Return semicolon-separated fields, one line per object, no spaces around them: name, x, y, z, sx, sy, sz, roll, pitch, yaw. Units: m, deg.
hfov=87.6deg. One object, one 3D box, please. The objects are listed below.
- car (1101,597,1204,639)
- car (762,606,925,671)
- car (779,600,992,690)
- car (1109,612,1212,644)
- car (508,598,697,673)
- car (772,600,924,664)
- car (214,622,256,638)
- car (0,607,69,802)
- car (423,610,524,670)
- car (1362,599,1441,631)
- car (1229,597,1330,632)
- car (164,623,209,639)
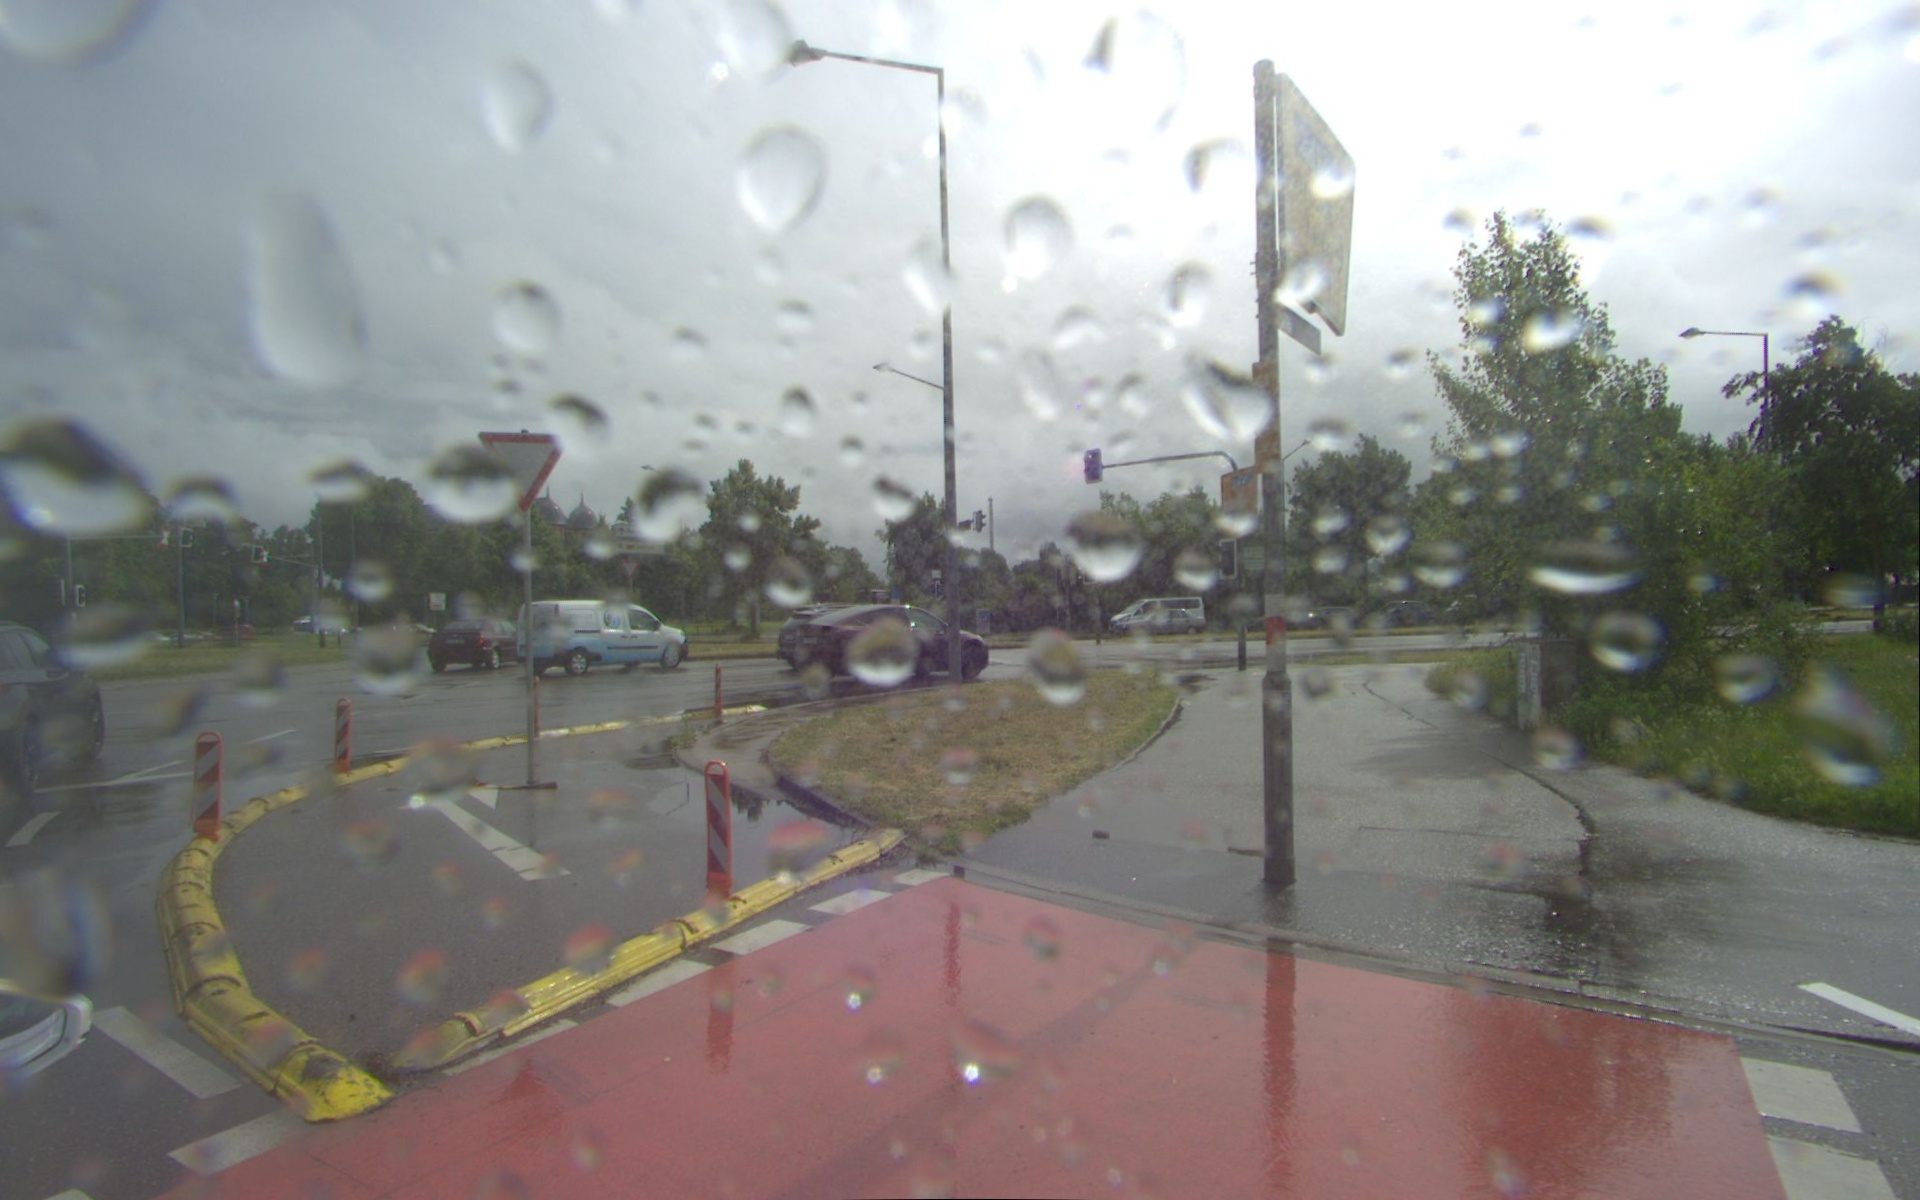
car;9.783;0.887;50.890;4.714;2.014;2.075;0;0;-16
car;-3.055;0.960;26.660;3.952;1.548;1.796;-1;0;-38
car;-1.530;0.888;21.719;4.454;1.679;1.857;-1;1;-44
car;9.540;1.314;47.667;4.469;1.398;1.865;0;0;-15
car;-9.142;0.846;26.023;1.839;1.786;4.531;0;0;30
car;-3.427;0.934;30.971;4.270;1.781;2.026;-1;1;-38
car;-73.235;3.050;101.205;3.586;1.530;1.647;-2;0;19
car;-9.872;0.909;9.524;1.882;1.639;3.968;-1;0;-39
car;-13.572;1.050;28.157;1.689;1.482;3.994;-1;1;-14
car;22.547;0.760;51.177;3.536;1.602;1.565;0;0;-15
car;15.676;0.686;49.186;4.406;1.556;1.865;-2;1;-15
car;-74.306;2.995;96.260;3.546;1.481;1.643;-1;0;17
